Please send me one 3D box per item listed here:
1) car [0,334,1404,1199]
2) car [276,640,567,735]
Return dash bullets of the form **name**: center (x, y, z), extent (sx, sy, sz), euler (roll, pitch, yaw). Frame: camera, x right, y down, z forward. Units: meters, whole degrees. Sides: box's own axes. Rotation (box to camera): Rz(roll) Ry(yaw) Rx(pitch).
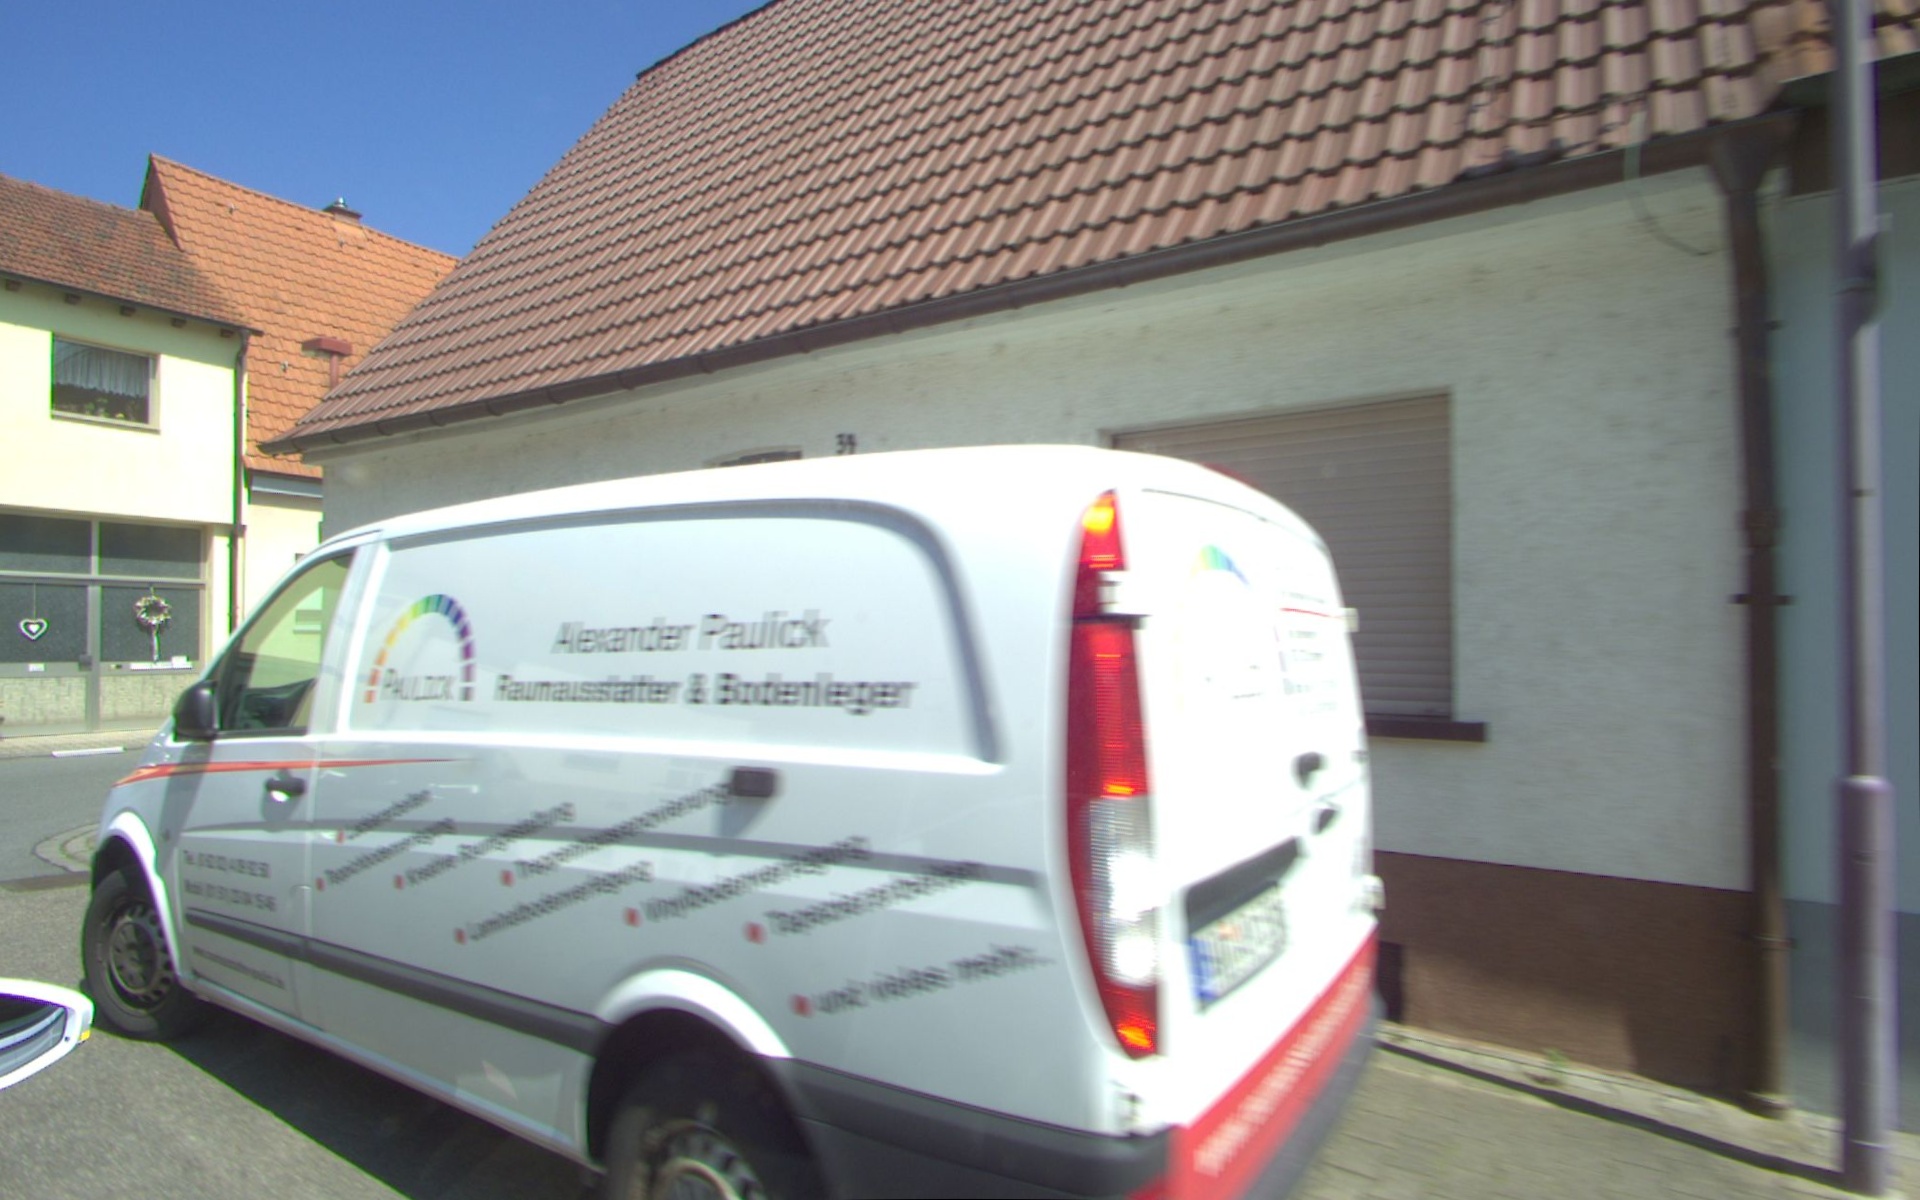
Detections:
- **car**: center (-1.357, 0.666, 3.646), extent (5.193, 1.861, 2.009), euler (-1, -3, 34)
- **car**: center (-9.349, 1.472, 17.719), extent (1.764, 1.472, 4.193), euler (-2, -3, 34)
